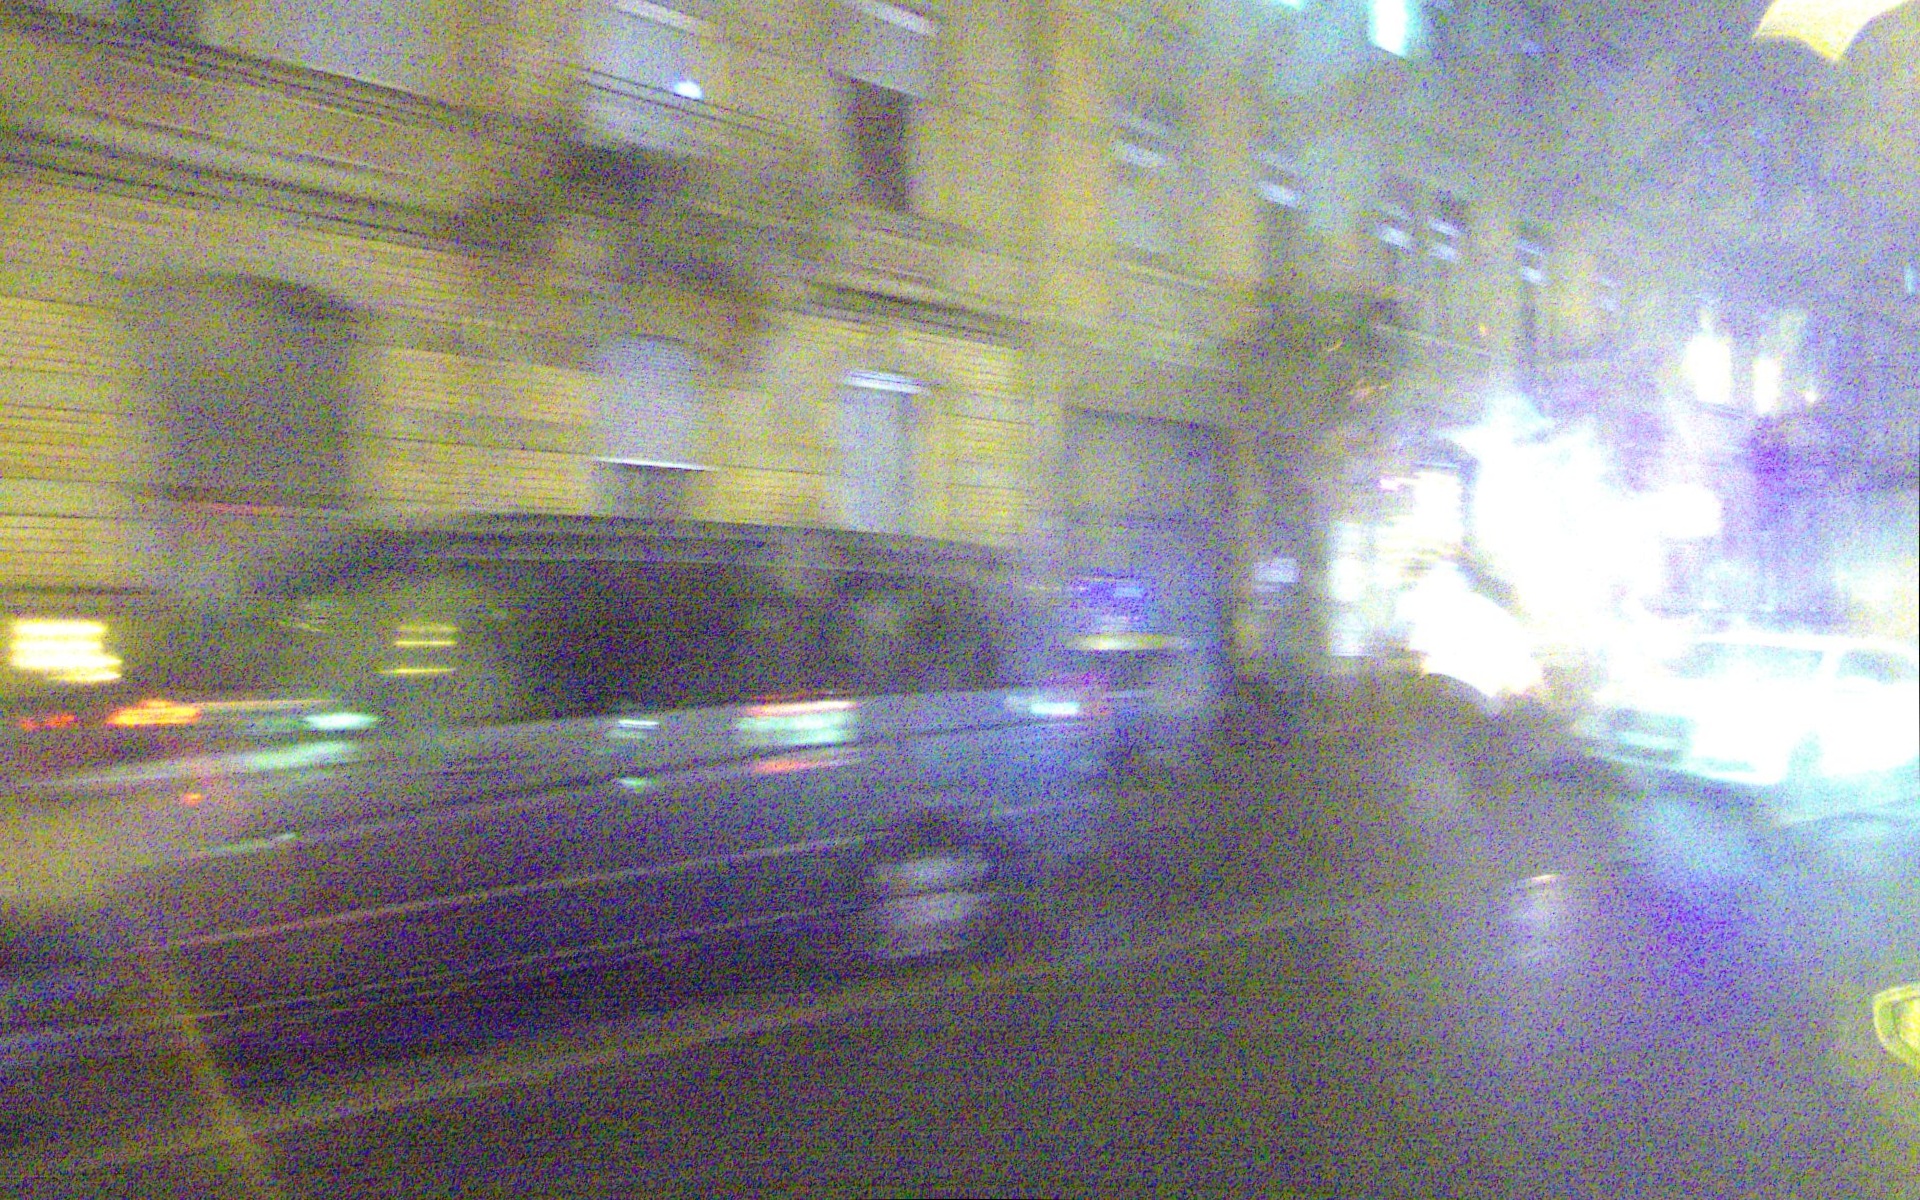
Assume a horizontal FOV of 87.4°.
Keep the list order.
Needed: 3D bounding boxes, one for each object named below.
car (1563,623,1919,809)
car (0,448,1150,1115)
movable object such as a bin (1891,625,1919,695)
[{"bbox_3d":[8.599,1.042,10.565,4.715,1.503,1.759,1,2,-30],"label":"car"},{"bbox_3d":[-1.786,0.544,4.466,5.145,1.853,1.987,1,-2,-30],"label":"car"},{"bbox_3d":[20.876,1.267,21.463,1.363,1.473,1.095,1,-3,-32],"label":"movable object such as a bin"}]
